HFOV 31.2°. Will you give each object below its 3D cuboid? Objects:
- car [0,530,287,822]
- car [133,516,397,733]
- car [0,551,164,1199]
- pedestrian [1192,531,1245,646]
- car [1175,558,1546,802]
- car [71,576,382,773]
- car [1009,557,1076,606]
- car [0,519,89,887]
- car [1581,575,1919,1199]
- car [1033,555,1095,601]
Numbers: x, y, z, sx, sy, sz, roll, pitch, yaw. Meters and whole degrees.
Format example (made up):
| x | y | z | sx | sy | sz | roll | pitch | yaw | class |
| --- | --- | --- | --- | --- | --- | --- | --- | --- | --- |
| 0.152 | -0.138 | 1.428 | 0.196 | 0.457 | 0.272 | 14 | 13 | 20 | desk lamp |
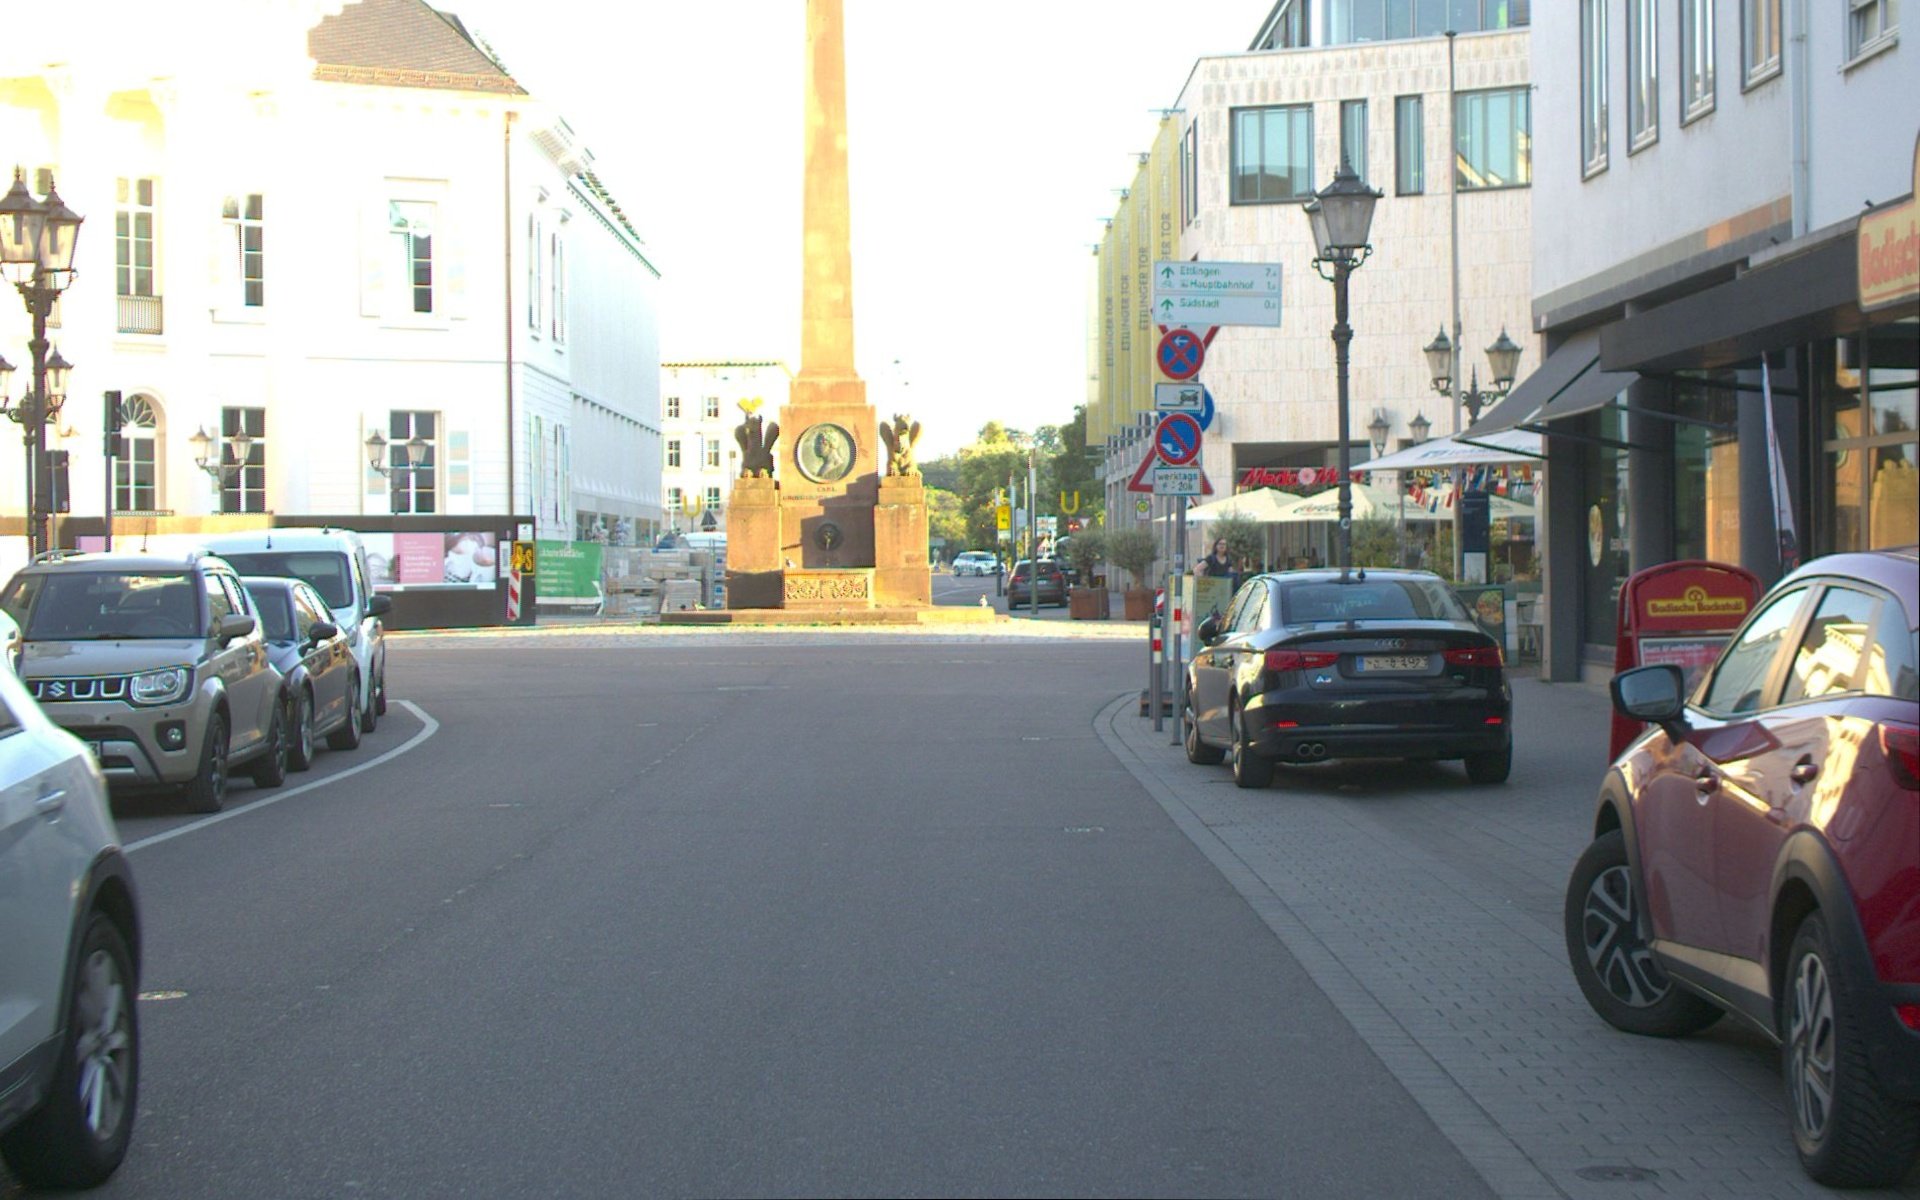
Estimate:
| x | y | z | sx | sy | sz | roll | pitch | yaw | class |
| --- | --- | --- | --- | --- | --- | --- | --- | --- | --- |
| -5.334 | 0.398 | 21.498 | 1.993 | 1.656 | 4.001 | 0 | 1 | -8 | car |
| -6.206 | 0.163 | 31.191 | 1.993 | 1.809 | 4.785 | 0 | 1 | -7 | car |
| -2.892 | 0.642 | 6.568 | 1.764 | 1.417 | 4.000 | -1 | 1 | 0 | car |
| 3.729 | -0.166 | 49.679 | 0.690 | 1.642 | 0.696 | -1 | 1 | -1 | pedestrian |
| 2.587 | 0.465 | 23.147 | 1.801 | 1.459 | 4.118 | -1 | 1 | -3 | car |
| -5.523 | 0.513 | 26.329 | 1.677 | 1.349 | 4.106 | 0 | 1 | -3 | car |
| 2.506 | -0.585 | 104.656 | 1.993 | 1.459 | 4.000 | 0 | 1 | 1 | car |
| -5.508 | 0.519 | 15.409 | 1.993 | 1.722 | 4.516 | -2 | 1 | 0 | car |
| 2.854 | 0.708 | 9.137 | 1.759 | 1.518 | 3.677 | 0 | 1 | 0 | car |
| 3.420 | -0.745 | 113.121 | 1.993 | 1.459 | 4.000 | 0 | 1 | 1 | car |
